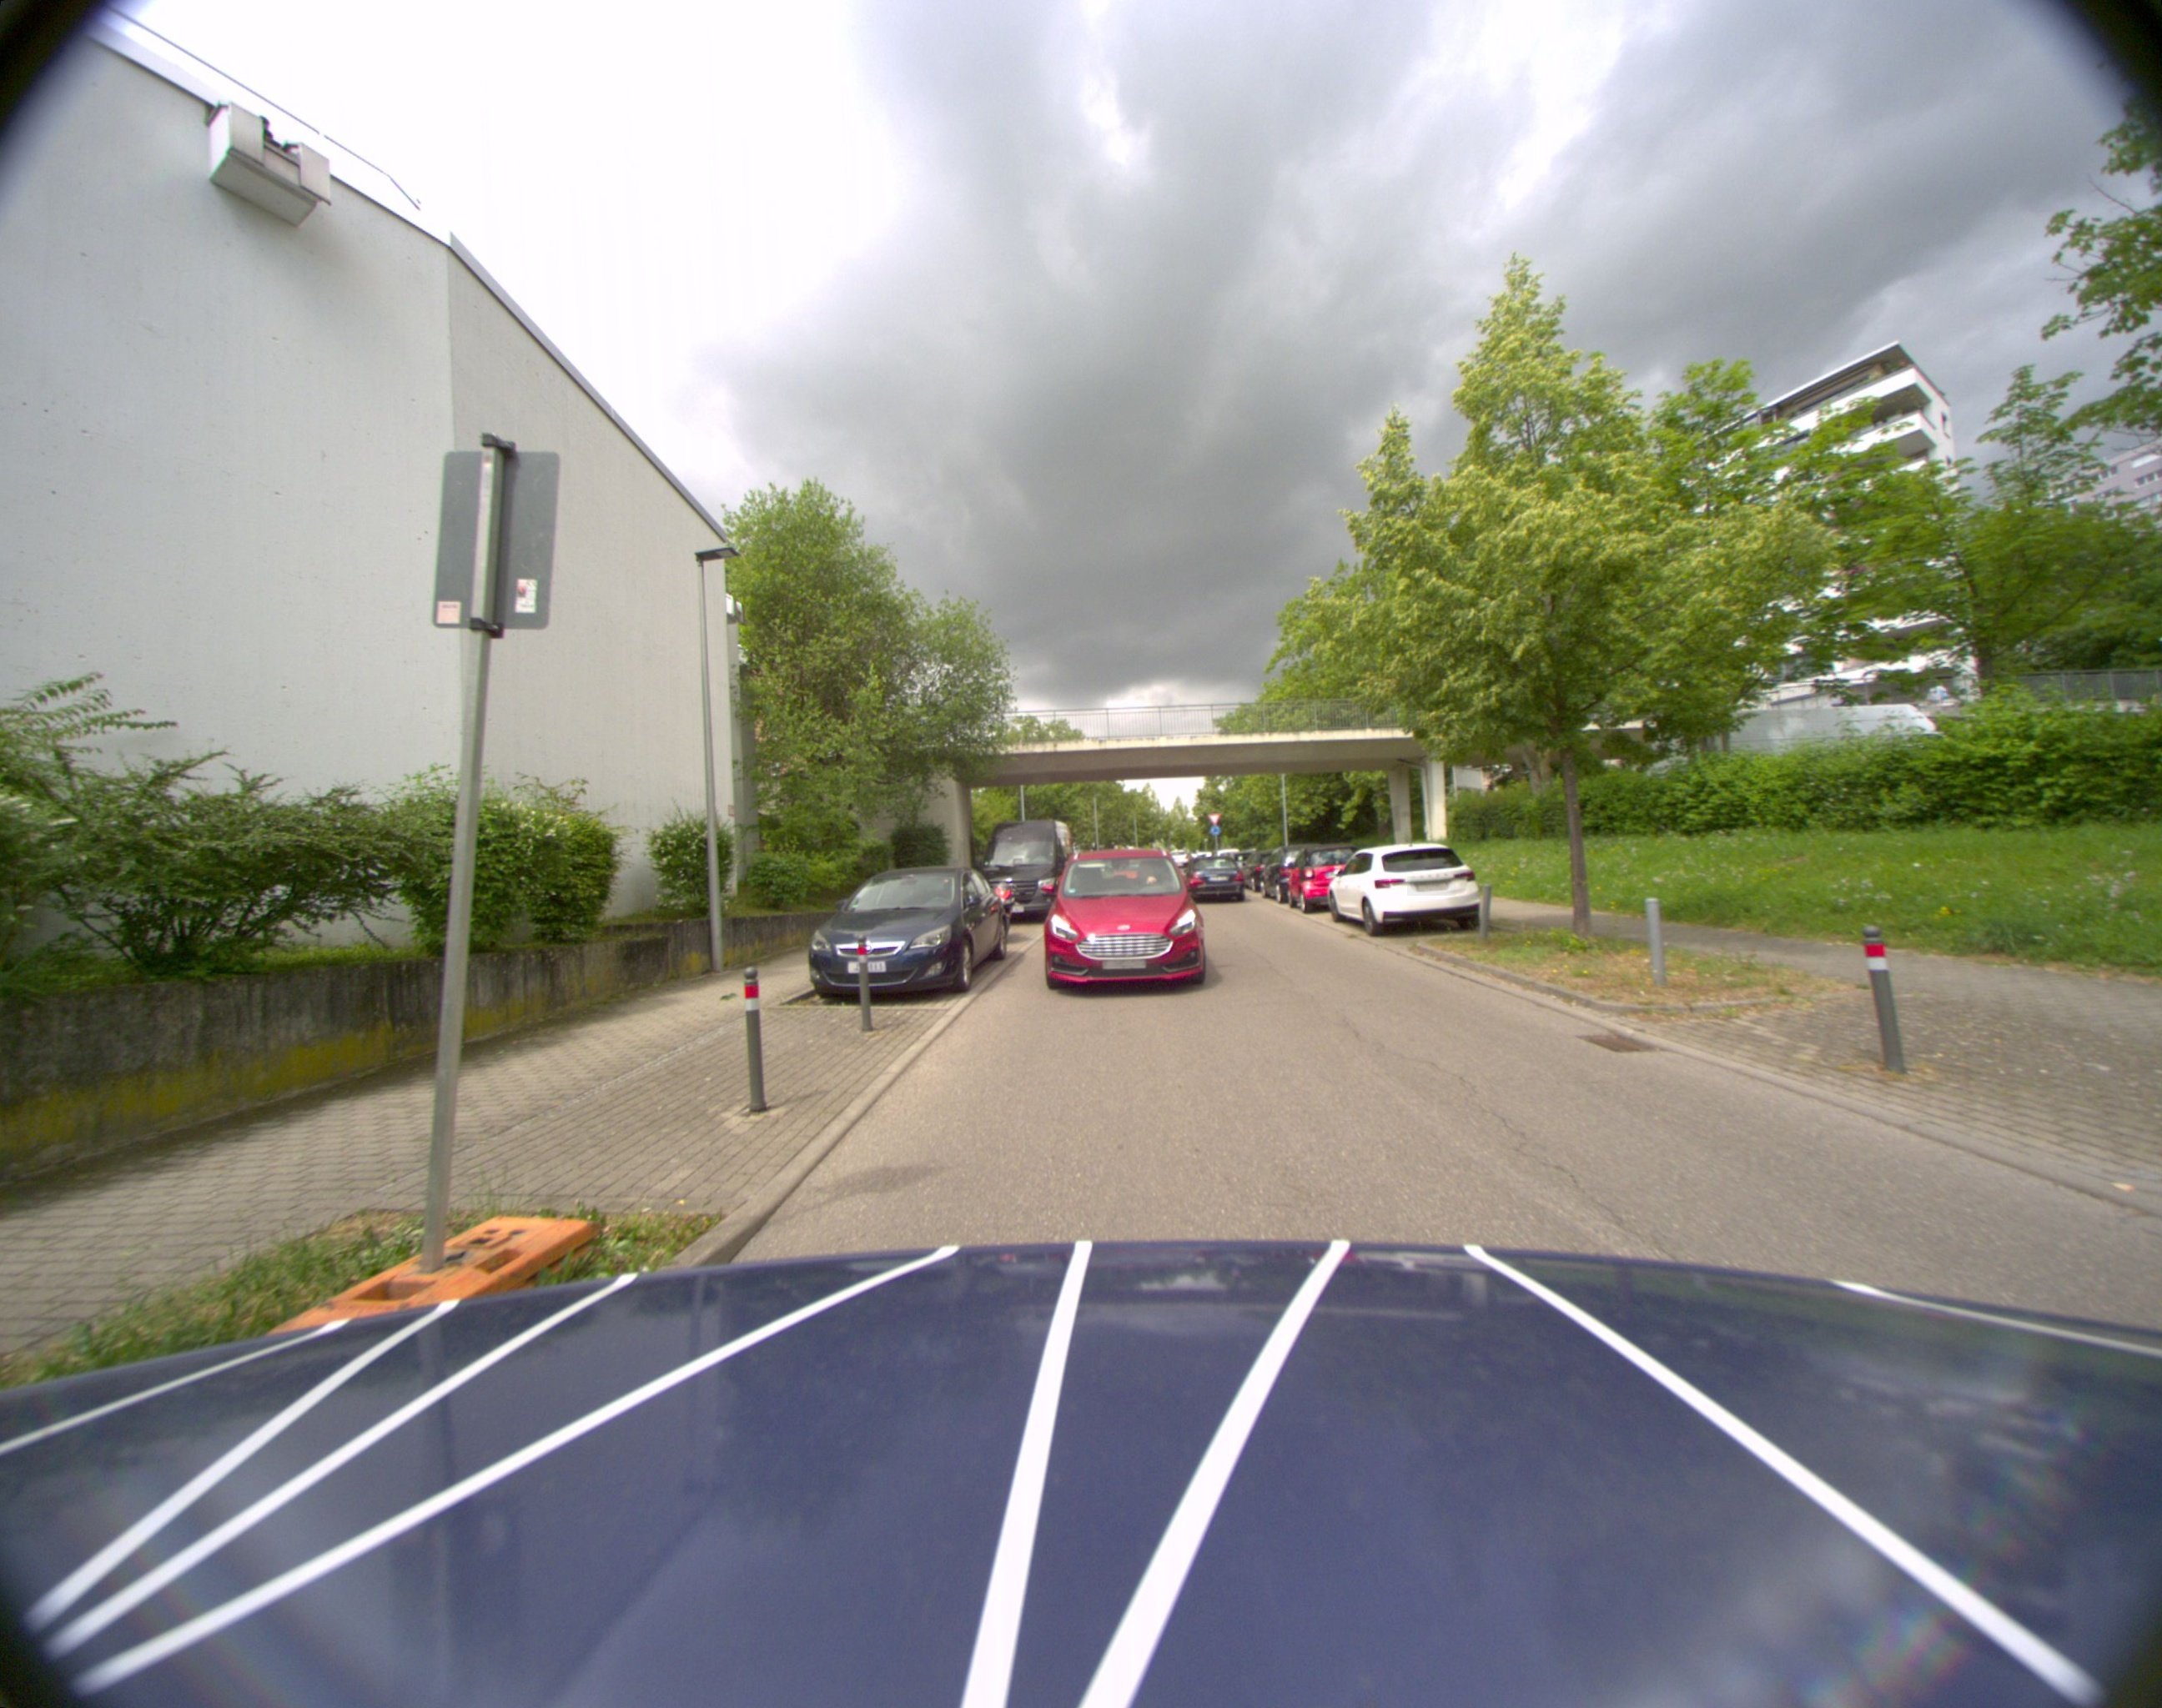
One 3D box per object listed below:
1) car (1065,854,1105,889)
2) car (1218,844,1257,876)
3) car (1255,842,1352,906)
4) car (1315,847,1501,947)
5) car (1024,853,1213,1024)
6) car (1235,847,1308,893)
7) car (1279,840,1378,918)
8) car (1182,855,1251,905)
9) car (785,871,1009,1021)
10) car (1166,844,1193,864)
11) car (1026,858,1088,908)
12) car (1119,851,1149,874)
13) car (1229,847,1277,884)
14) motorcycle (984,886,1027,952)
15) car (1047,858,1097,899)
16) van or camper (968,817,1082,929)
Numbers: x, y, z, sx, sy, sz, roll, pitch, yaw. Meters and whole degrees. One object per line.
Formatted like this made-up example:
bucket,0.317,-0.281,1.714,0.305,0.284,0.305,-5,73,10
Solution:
car,0.231,0.848,37.715,1.604,1.534,3.723,-2,1,5
car,8.448,0.297,41.229,1.811,1.561,3.724,-2,1,9
car,6.416,0.536,22.364,1.812,1.575,3.986,-5,0,4
car,5.677,0.652,13.784,1.812,1.396,4.049,-5,0,5
car,0.536,0.845,9.387,1.812,1.600,3.723,-2,1,5
car,7.076,0.526,28.627,1.812,1.472,4.487,-4,0,4
car,5.891,0.548,18.357,1.597,1.575,2.686,-6,0,6
car,4.265,0.773,24.545,1.755,1.411,4.369,-2,0,5
car,-2.107,1.009,9.885,1.695,1.412,4.001,-2,0,3
car,7.995,-0.014,61.943,1.812,1.561,3.722,-2,1,3
car,-0.756,0.934,25.863,1.586,1.441,3.723,-2,1,5
car,3.756,0.538,53.162,1.779,1.443,4.002,-2,1,8
car,7.918,0.494,35.301,1.812,1.447,3.863,-5,0,9
motorcycle,-1.482,1.206,14.649,0.710,1.061,1.929,-3,1,-7
car,-0.315,0.984,31.516,1.604,1.478,3.723,-2,1,5
van or camper,-1.281,0.408,20.262,1.998,2.481,5.760,-2,1,5
